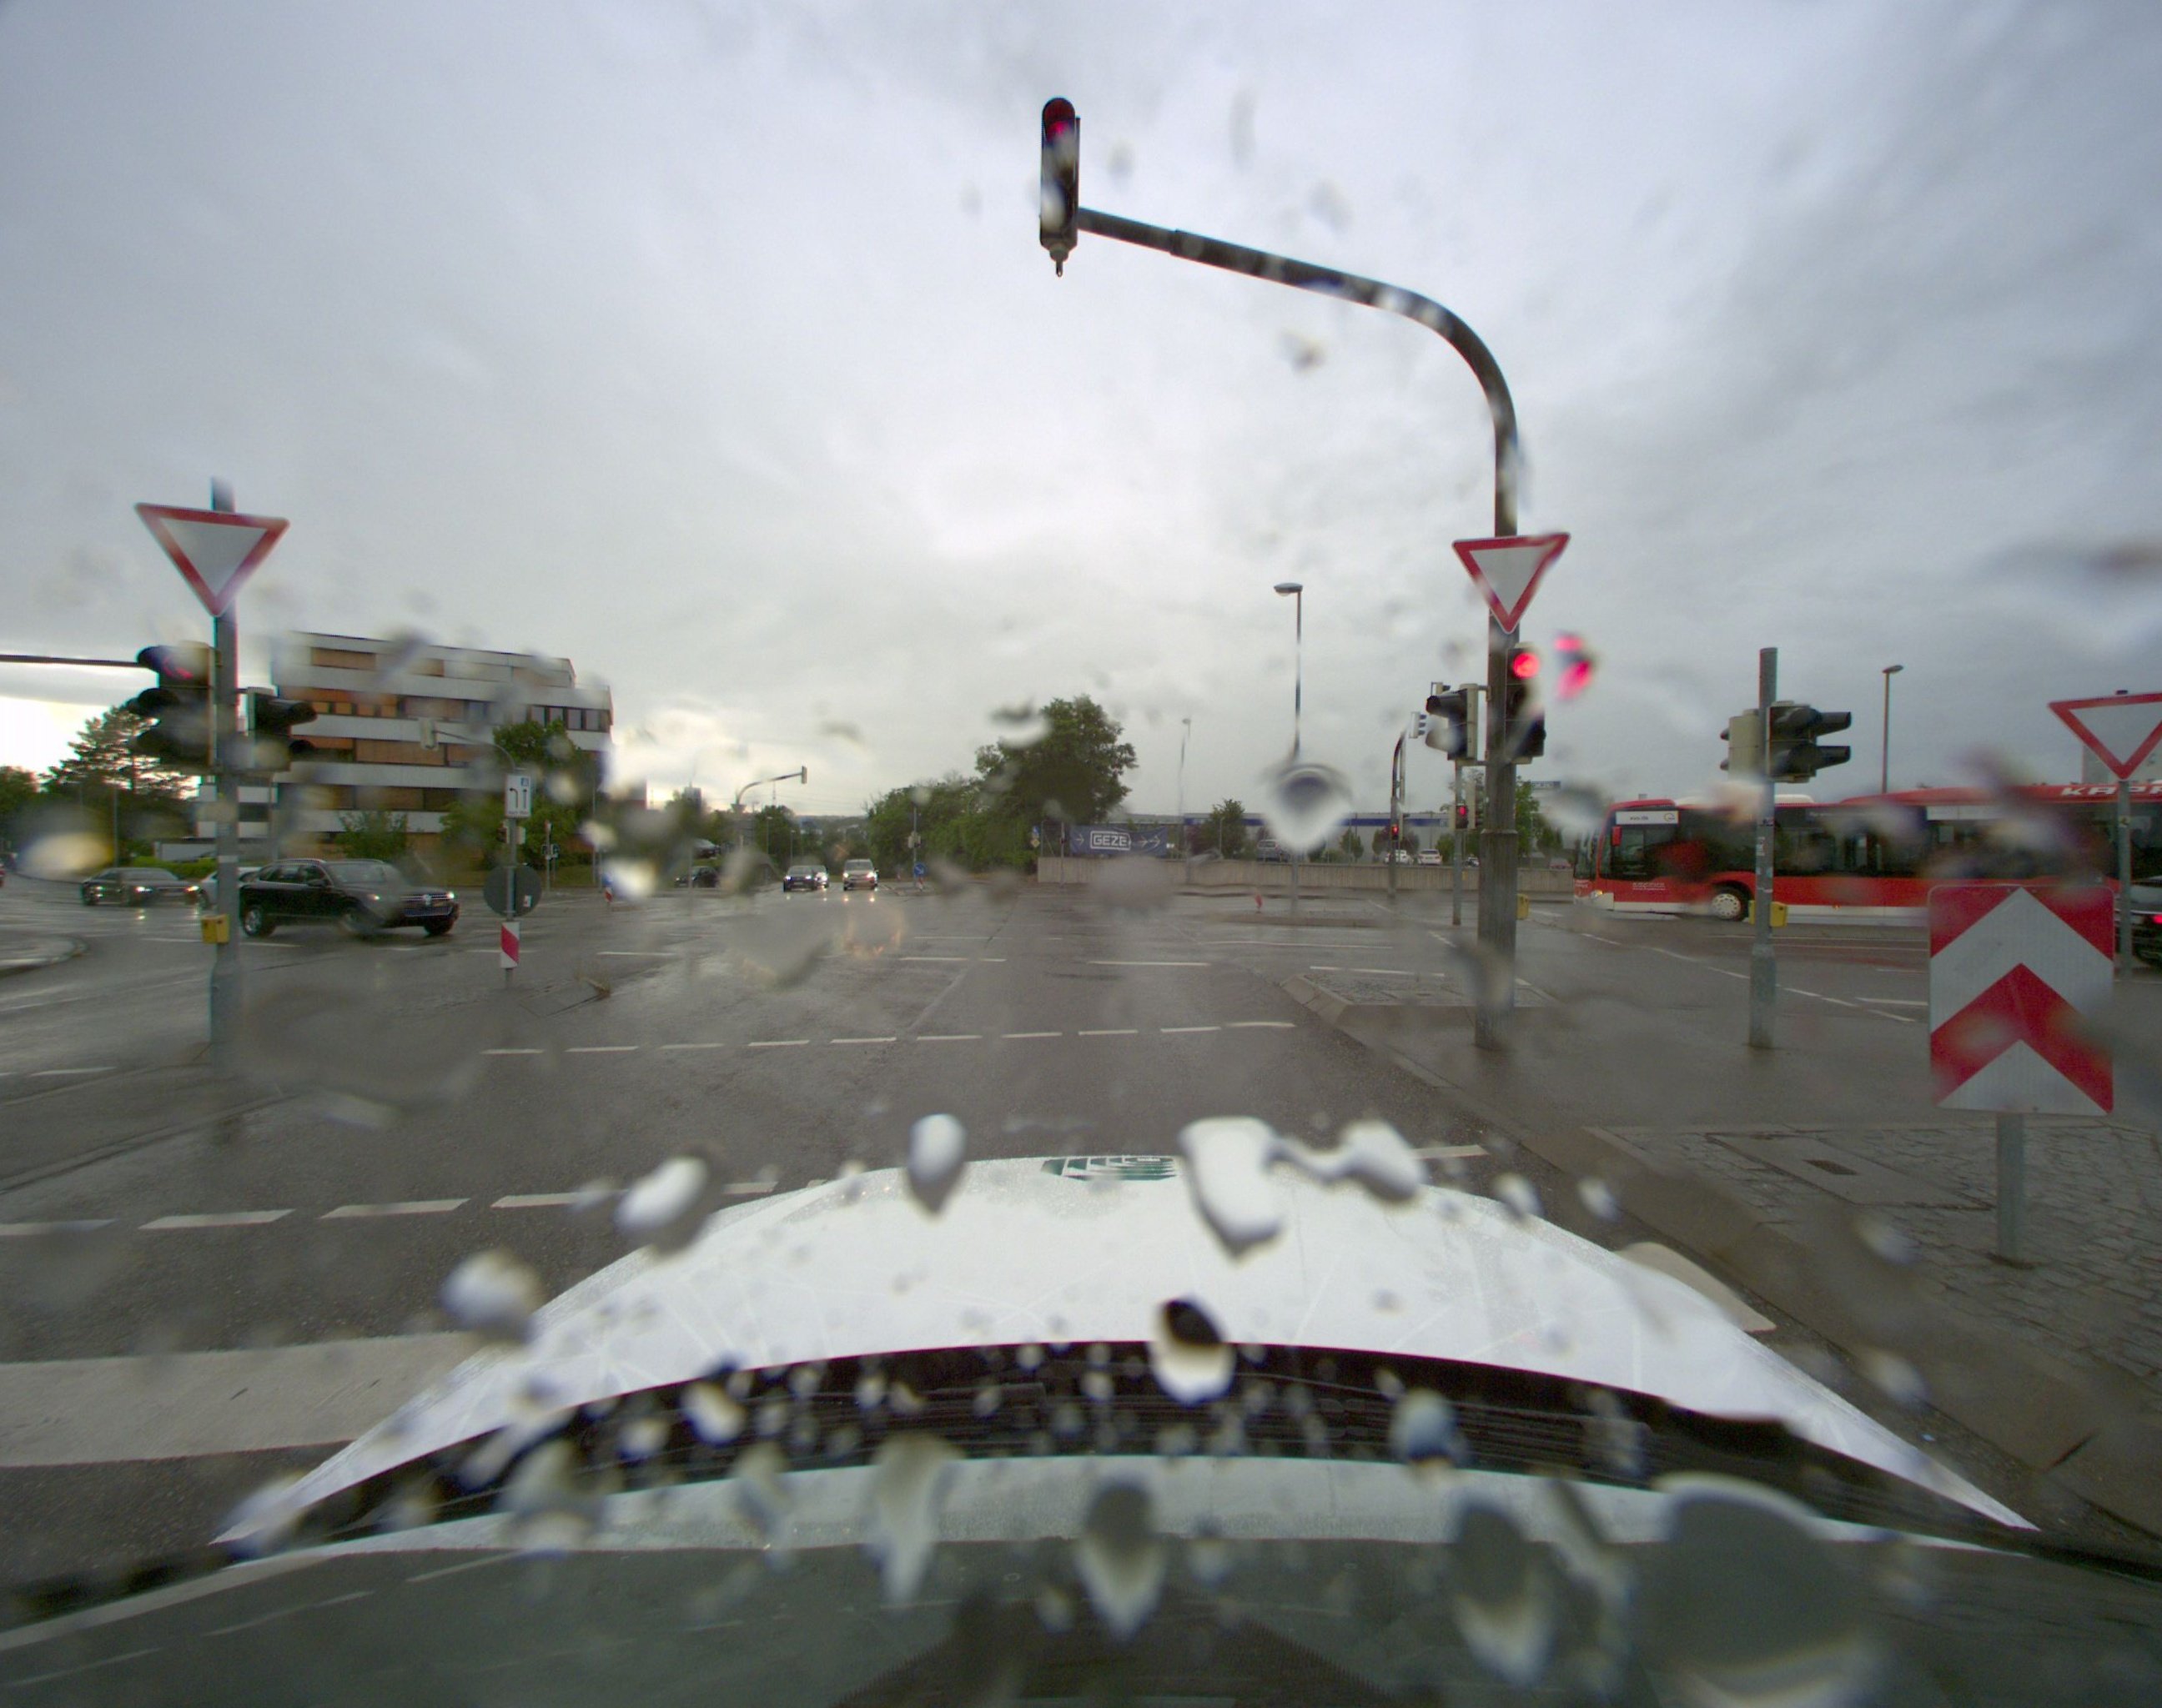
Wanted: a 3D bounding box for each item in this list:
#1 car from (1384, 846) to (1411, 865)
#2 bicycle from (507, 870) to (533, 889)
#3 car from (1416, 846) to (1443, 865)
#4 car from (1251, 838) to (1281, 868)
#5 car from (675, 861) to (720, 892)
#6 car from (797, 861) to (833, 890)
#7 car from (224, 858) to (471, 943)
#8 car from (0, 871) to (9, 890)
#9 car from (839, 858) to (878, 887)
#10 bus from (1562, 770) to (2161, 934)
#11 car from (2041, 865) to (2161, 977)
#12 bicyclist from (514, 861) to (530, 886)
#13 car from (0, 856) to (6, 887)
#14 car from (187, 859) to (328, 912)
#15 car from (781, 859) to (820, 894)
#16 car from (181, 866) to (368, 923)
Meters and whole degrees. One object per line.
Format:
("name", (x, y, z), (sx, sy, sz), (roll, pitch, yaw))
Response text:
("car", (26.390, 0.095, 67.850), (1.976, 1.478, 4.021), (0, 0, 22))
("bicycle", (-32.516, 1.492, 47.213), (1.757, 1.052, 0.614), (0, 0, 34))
("car", (28.696, 0.104, 67.170), (1.976, 1.478, 4.021), (0, 0, 21))
("car", (13.103, -0.076, 57.549), (1.979, 2.013, 4.015), (0, 0, 13))
("car", (-25.272, 1.421, 53.731), (1.997, 1.895, 3.979), (0, 0, -15))
("car", (-18.270, 1.424, 55.985), (1.996, 1.895, 3.982), (0, 0, -13))
("car", (-16.426, 0.970, 18.294), (4.561, 1.702, 2.009), (0, 0, 16))
("car", (-65.159, 1.575, 48.244), (3.471, 1.105, 1.832), (0, 0, 34))
("car", (-13.078, 1.056, 48.049), (1.995, 1.618, 3.983), (0, 0, -13))
("bus", (18.695, -0.123, 19.279), (12.177, 3.321, 3.089), (1, 0, 19))
("car", (17.065, 0.919, 11.235), (4.623, 1.476, 2.009), (0, 0, 17))
("bicyclist", (-32.347, 1.108, 47.098), (0.538, 1.446, 0.607), (0, 0, 34))
("car", (-65.466, 1.024, 48.239), (3.948, 1.794, 1.831), (0, 0, 32))
("car", (-28.597, 1.037, 28.304), (3.953, 1.684, 2.010), (0, 0, 21))
("car", (-16.764, 1.303, 48.791), (1.998, 1.895, 3.978), (0, 0, -16))
("car", (-22.483, 1.069, 22.755), (4.107, 1.416, 1.936), (0, 0, 16))
